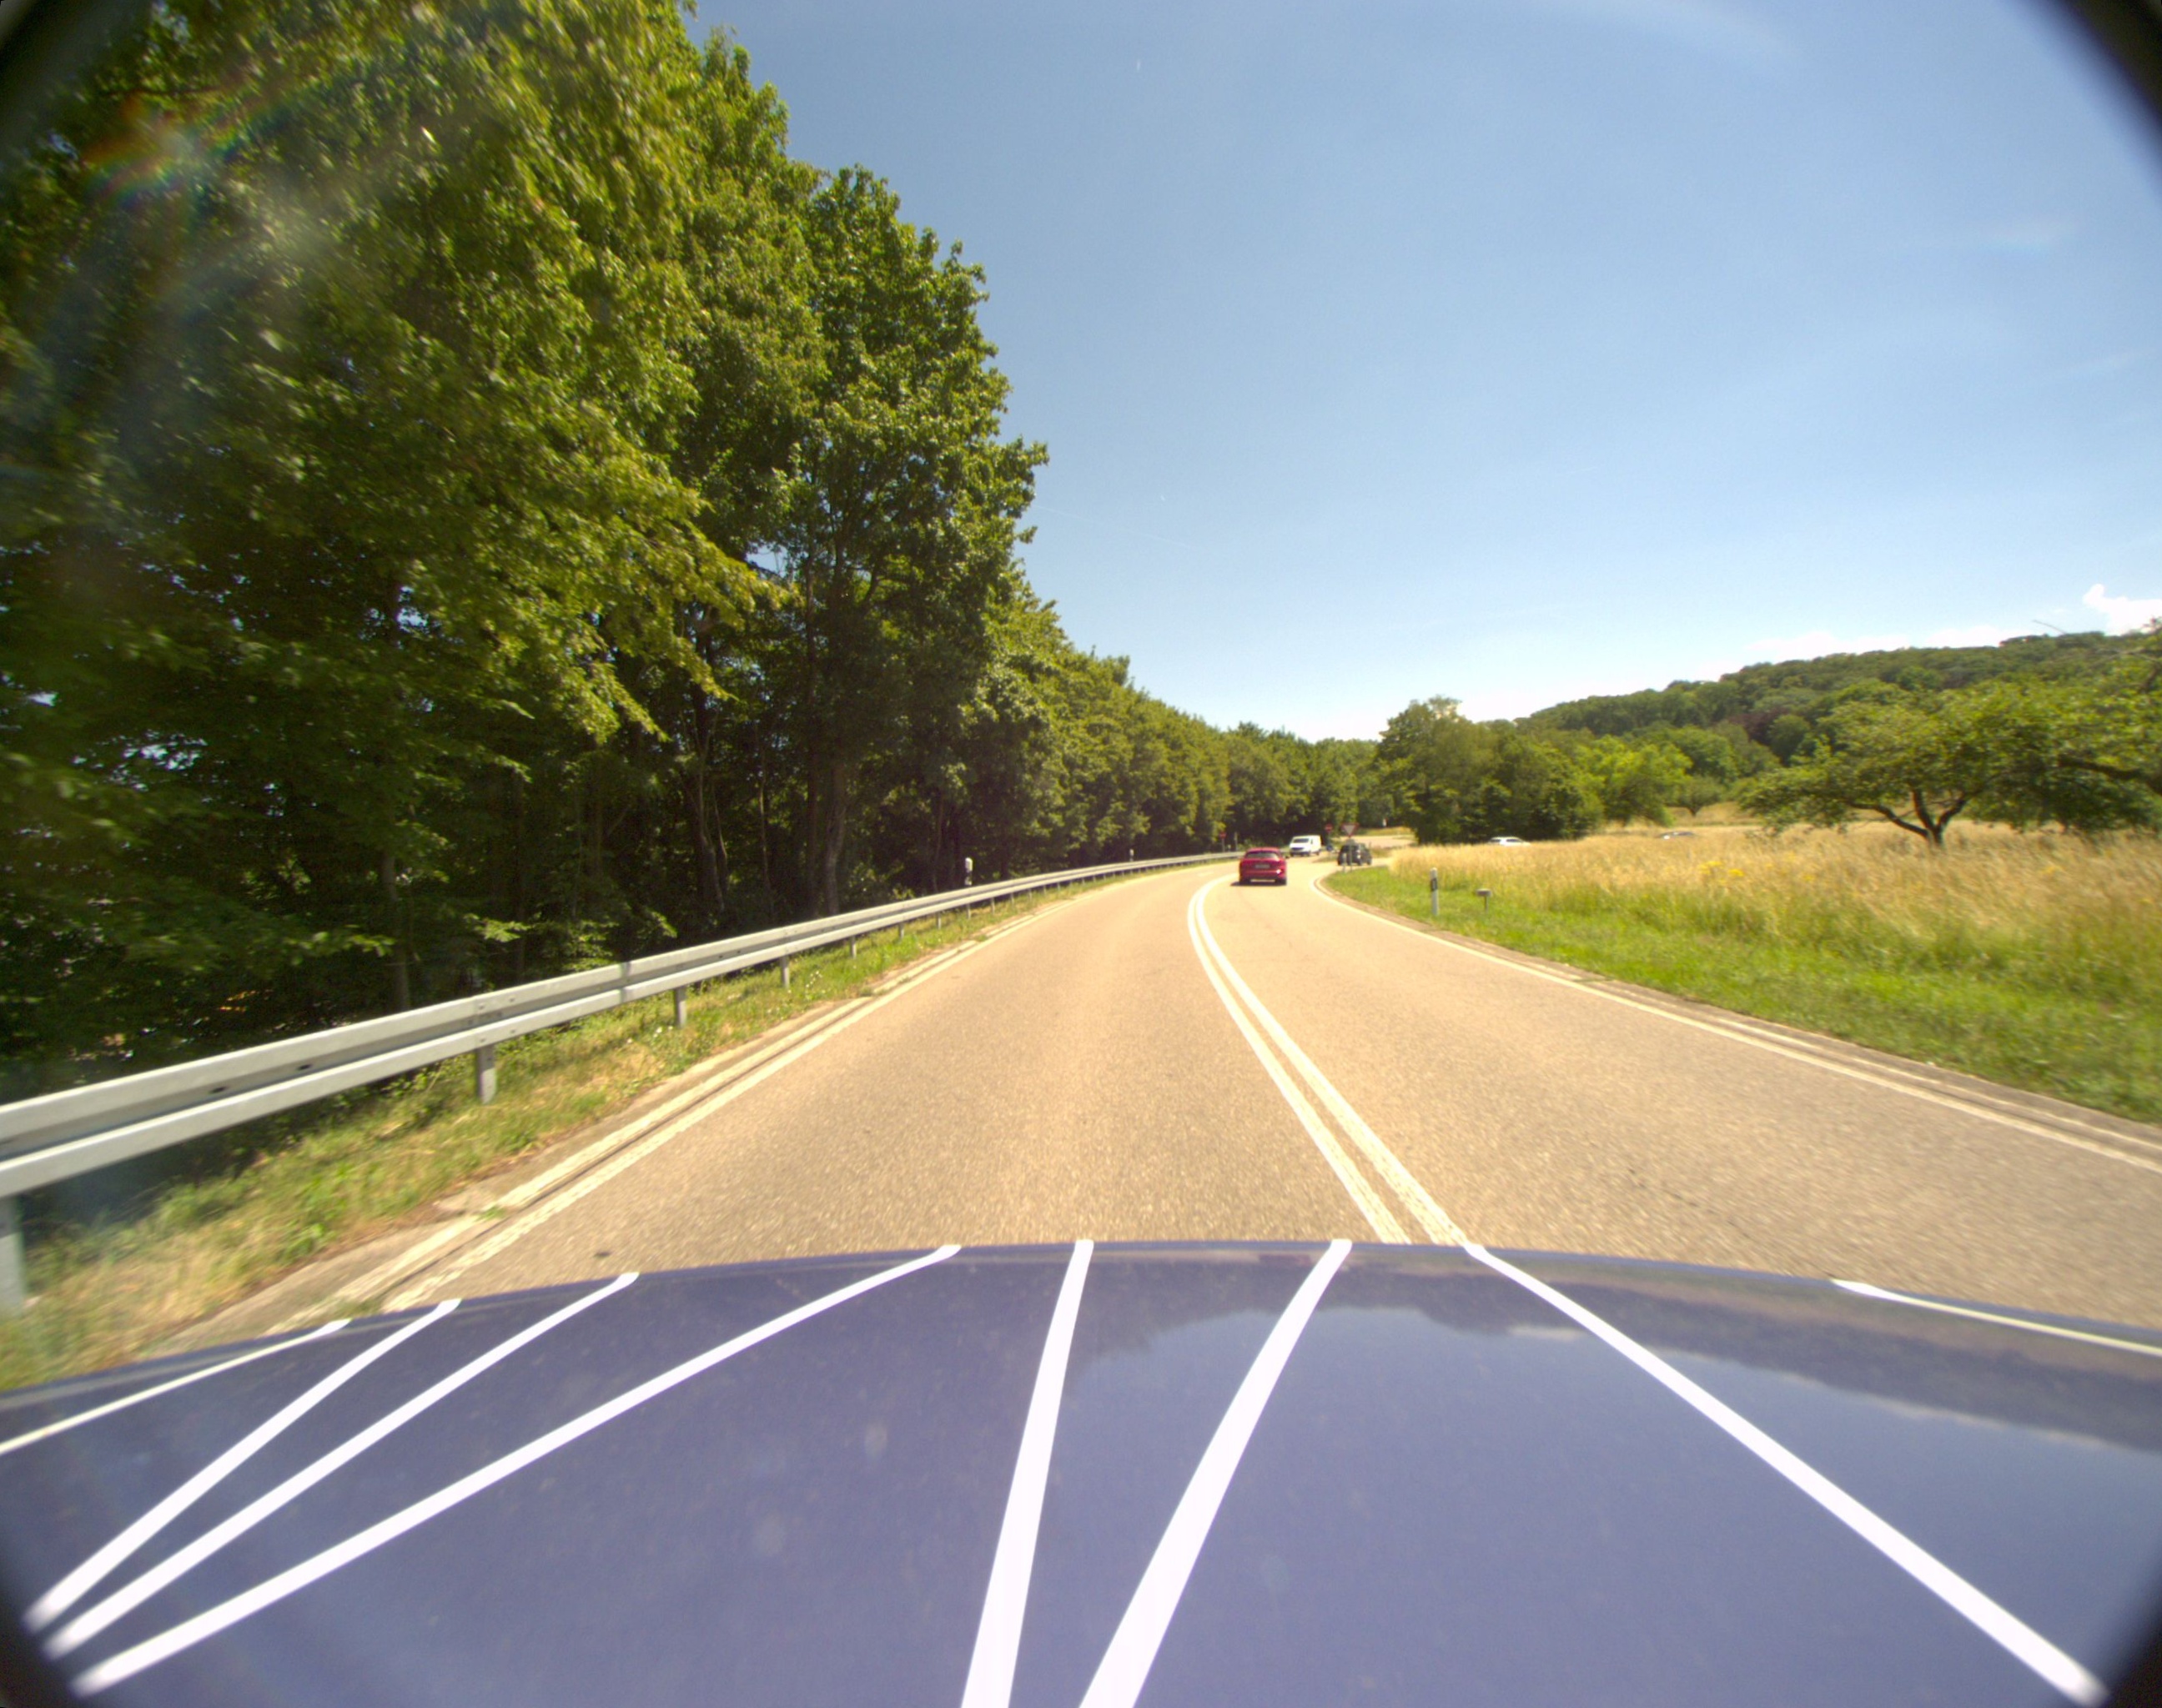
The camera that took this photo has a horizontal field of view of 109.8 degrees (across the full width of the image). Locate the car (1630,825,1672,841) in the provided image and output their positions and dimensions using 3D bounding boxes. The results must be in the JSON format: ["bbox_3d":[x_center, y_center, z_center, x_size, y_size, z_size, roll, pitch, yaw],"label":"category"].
[{"bbox_3d":[55.085,-2.018,73.396,4.666,1.498,1.803,-1,2,-35],"label":"car"}]

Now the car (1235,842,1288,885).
[{"bbox_3d":[7.197,0.306,29.989,1.824,1.450,4.404,2,3,16],"label":"car"}]

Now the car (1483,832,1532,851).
[{"bbox_3d":[37.691,-1.086,67.117,4.224,1.582,1.823,-1,3,-30],"label":"car"}]

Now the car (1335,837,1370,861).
[{"bbox_3d":[19.537,-0.400,54.543,1.736,1.498,4.079,-3,1,28],"label":"car"}]

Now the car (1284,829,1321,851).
[{"bbox_3d":[22.064,-1.399,75.389,2.220,2.021,5.436,-3,1,30],"label":"car"}]
